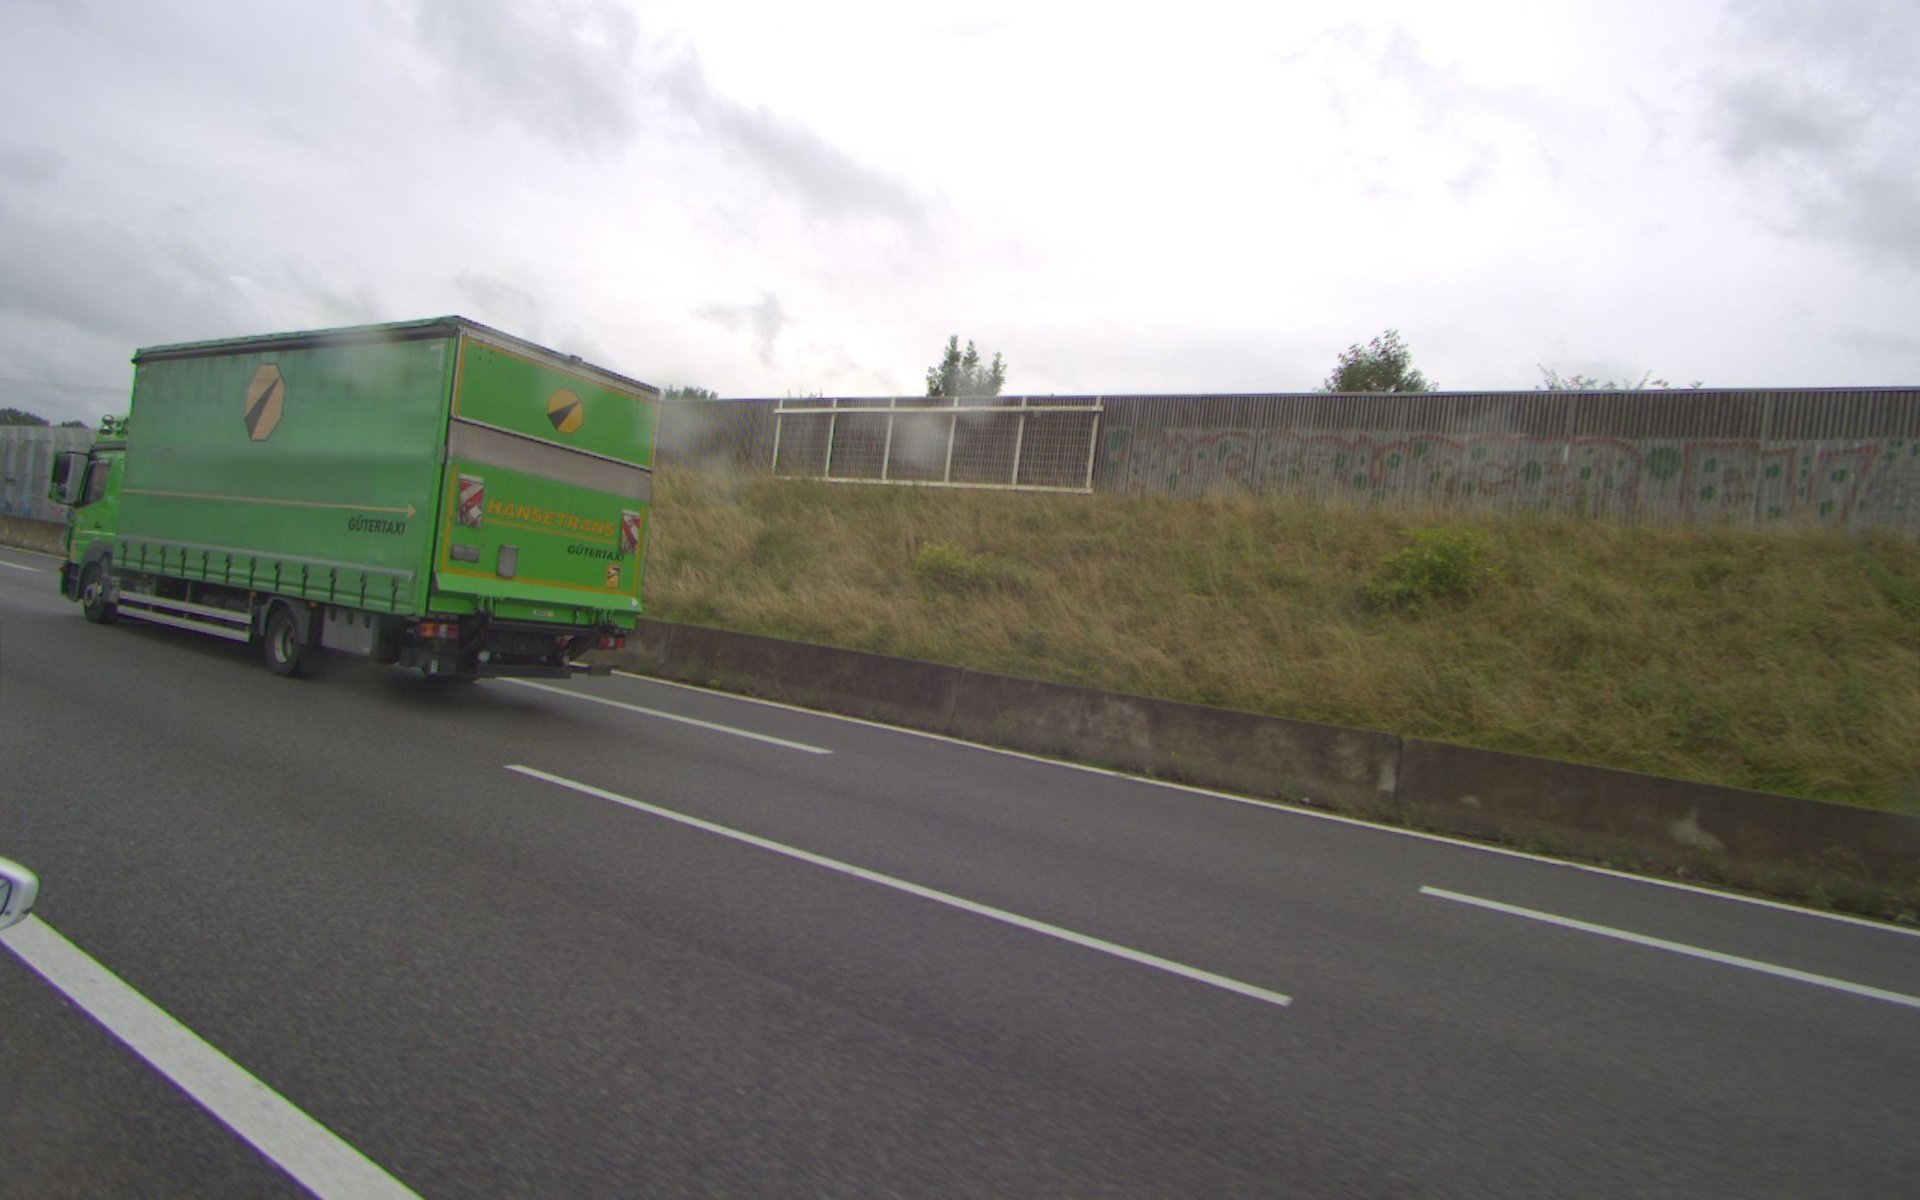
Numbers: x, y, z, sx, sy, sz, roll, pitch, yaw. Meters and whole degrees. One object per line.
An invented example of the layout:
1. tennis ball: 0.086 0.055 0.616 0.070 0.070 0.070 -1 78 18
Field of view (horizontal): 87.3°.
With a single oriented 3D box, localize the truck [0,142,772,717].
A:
1. truck: -8.374 -1.889 13.855 11.034 5.327 4.005 6 -1 32
